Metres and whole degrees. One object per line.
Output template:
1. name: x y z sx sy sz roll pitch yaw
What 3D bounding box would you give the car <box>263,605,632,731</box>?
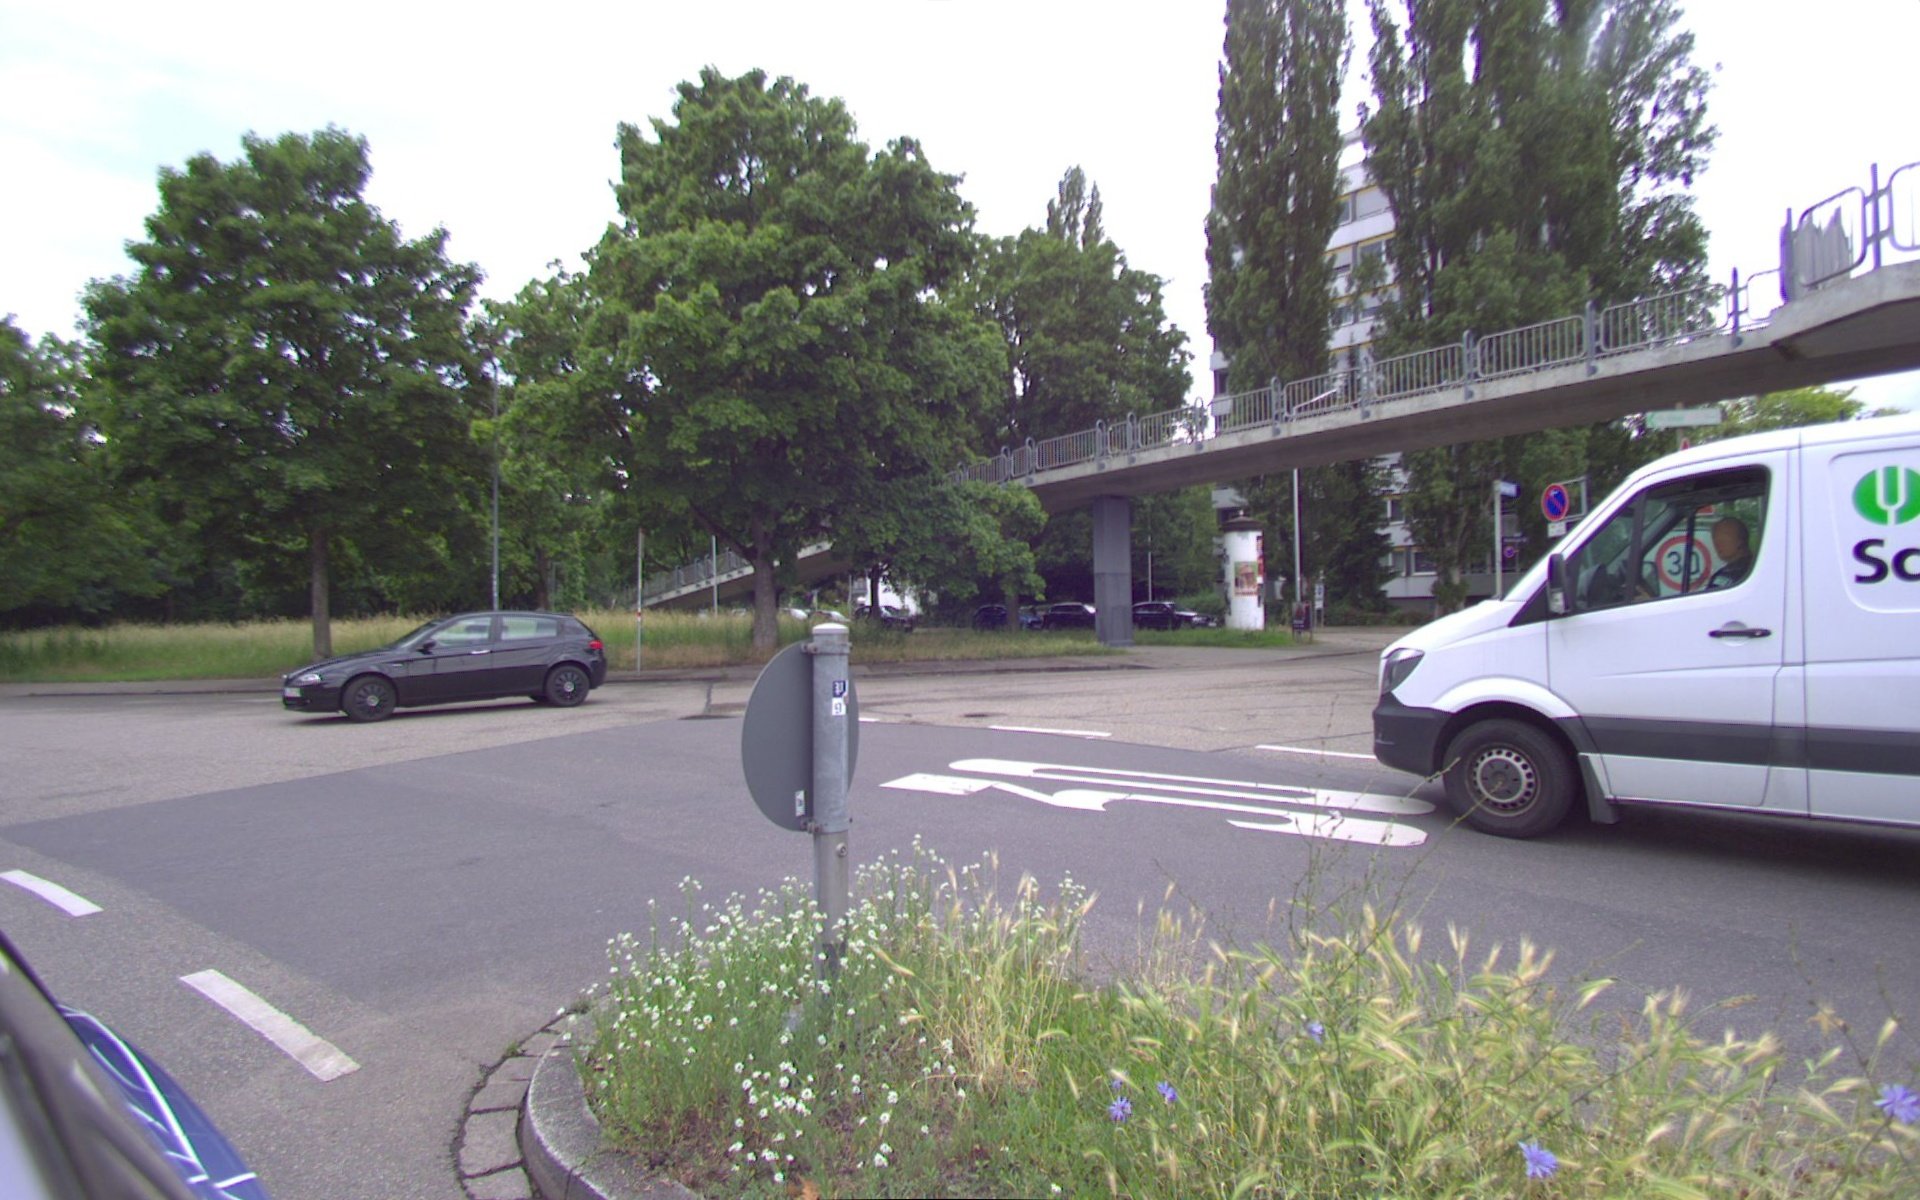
1. car: -7.221 0.858 14.464 4.466 1.468 1.808 -1 -1 -36

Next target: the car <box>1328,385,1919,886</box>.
1. car: 5.015 0.163 5.554 5.209 2.310 2.110 -2 -1 44

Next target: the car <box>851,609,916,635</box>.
1. car: -4.386 1.251 57.461 1.667 1.361 4.007 -1 0 -39

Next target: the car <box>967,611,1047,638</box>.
1. car: 2.282 1.180 49.889 1.667 1.247 4.007 -1 0 -39

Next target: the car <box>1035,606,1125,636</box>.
1. car: 5.432 0.948 46.176 1.667 1.256 4.007 -1 0 -39

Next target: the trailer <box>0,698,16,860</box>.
1. trailer: -7.634 1.129 5.561 3.415 0.993 1.572 0 0 -1

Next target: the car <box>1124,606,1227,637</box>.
1. car: 8.881 0.888 41.944 1.667 1.214 4.007 -1 0 -39
